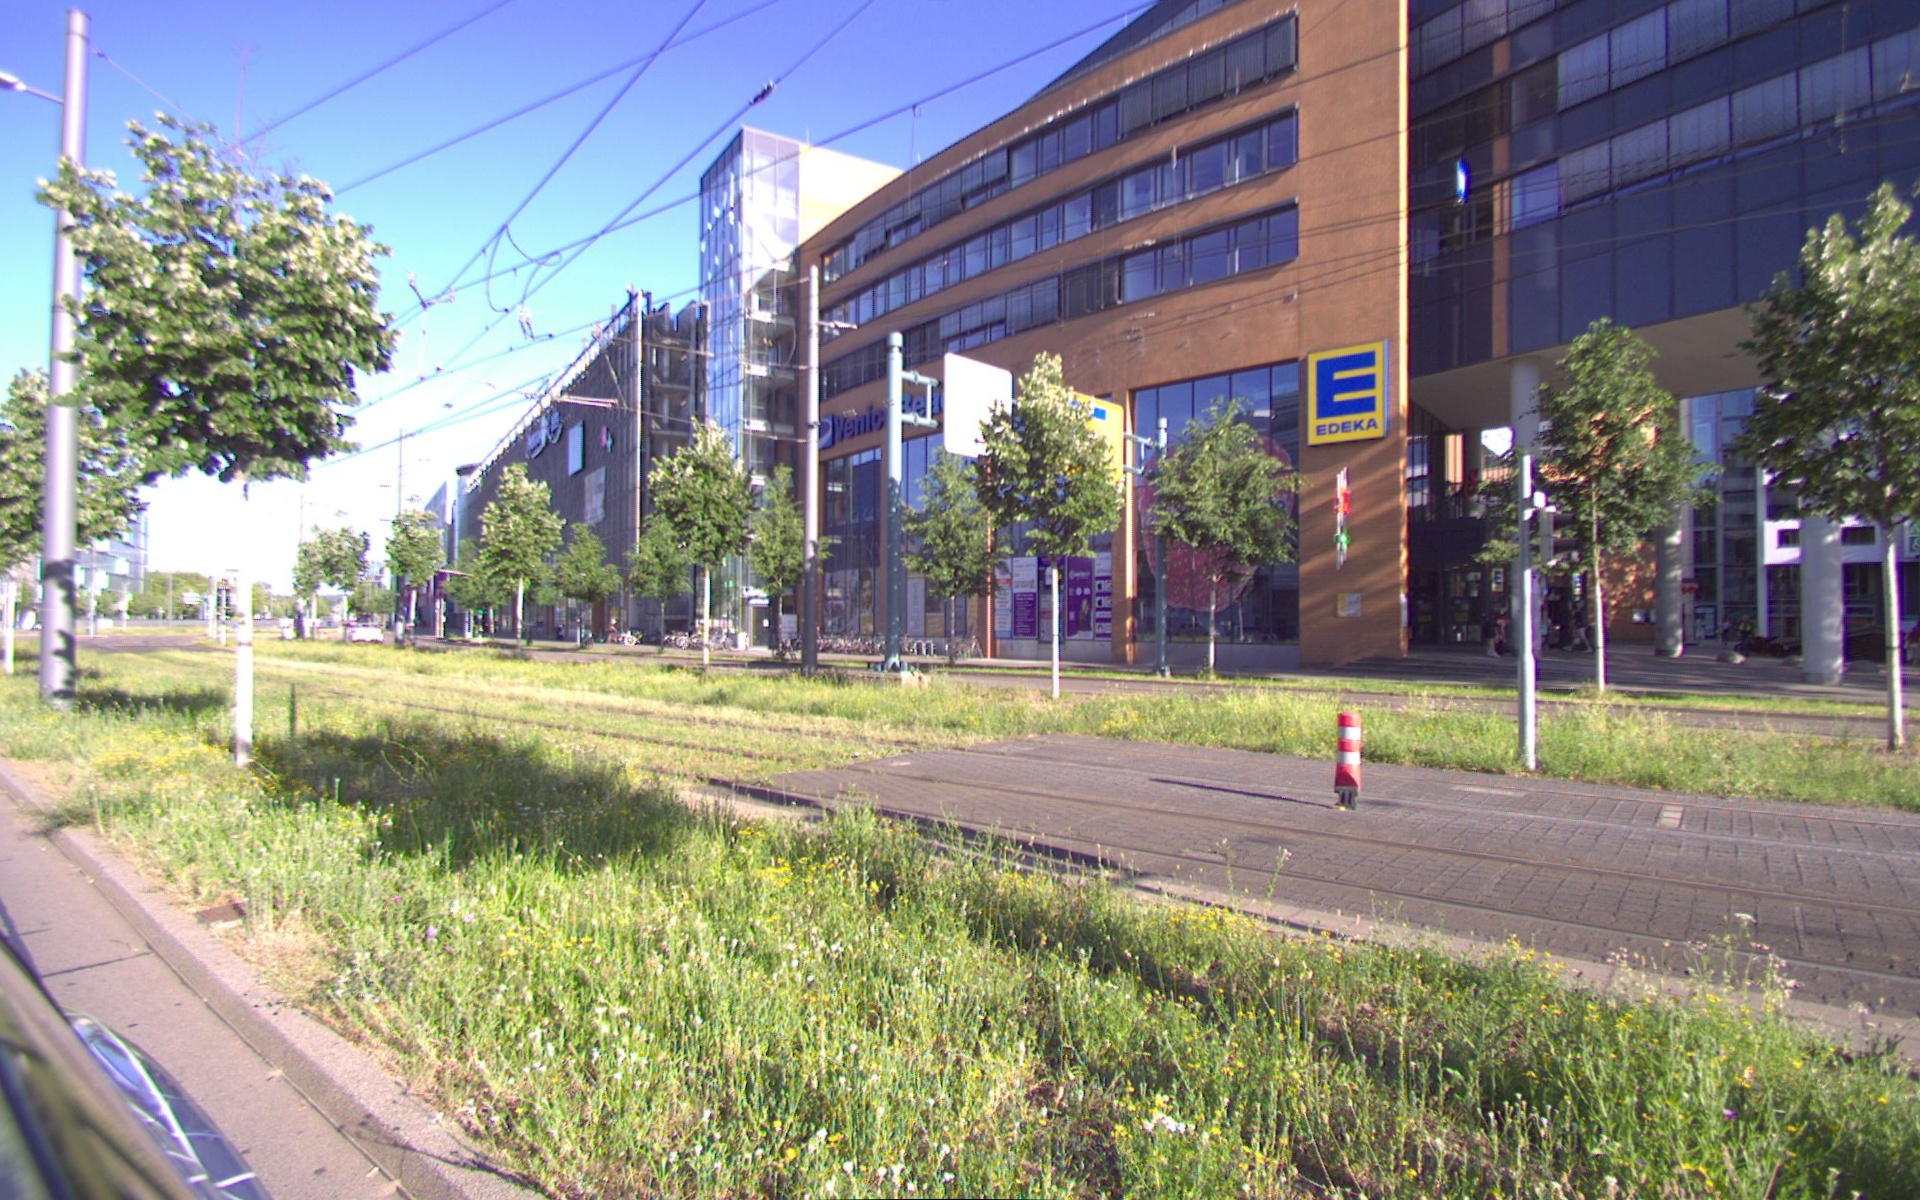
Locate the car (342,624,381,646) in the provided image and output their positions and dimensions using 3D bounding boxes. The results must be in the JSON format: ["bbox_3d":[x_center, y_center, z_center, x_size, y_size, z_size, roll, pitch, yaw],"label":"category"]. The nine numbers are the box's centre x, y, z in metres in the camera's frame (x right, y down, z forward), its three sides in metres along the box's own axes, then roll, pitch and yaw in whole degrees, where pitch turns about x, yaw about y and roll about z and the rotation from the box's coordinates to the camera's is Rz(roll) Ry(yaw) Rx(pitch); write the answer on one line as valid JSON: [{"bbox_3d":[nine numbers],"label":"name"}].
[{"bbox_3d":[-39.585,2.302,66.871,1.782,1.338,4.415,2,-2,-36],"label":"car"}]

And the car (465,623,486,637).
[{"bbox_3d":[-56.764,3.523,118.500,1.559,1.541,3.759,0,0,-37],"label":"car"}]

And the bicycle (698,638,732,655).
[{"bbox_3d":[-13.661,2.580,56.399,1.741,0.933,0.566,1,-2,-33],"label":"bicycle"}]

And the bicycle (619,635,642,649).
[{"bbox_3d":[-21.995,2.815,67.541,1.377,0.933,0.463,1,-2,-33],"label":"bicycle"}]

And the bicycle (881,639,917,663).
[{"bbox_3d":[-2.824,2.349,47.035,1.744,1.057,0.491,1,-2,-42],"label":"bicycle"}]

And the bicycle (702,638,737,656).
[{"bbox_3d":[-13.240,2.572,55.735,1.741,0.933,0.566,1,-2,-33],"label":"bicycle"}]

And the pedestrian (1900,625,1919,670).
[{"bbox_3d":[38.024,1.877,39.969,0.778,1.720,1.113,0,0,-32],"label":"pedestrian"}]

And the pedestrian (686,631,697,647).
[{"bbox_3d":[-17.926,2.592,67.611,0.619,1.063,0.450,1,-2,-36],"label":"pedestrian"}]

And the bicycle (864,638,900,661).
[{"bbox_3d":[-3.713,2.365,48.133,1.744,1.057,0.491,1,-2,-42],"label":"bicycle"}]

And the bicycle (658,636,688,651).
[{"bbox_3d":[-17.592,2.654,62.070,1.741,0.933,0.492,1,-2,-33],"label":"bicycle"}]

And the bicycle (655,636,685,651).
[{"bbox_3d":[-17.914,2.674,62.571,1.741,0.933,0.492,1,-2,-33],"label":"bicycle"}]

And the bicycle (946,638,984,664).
[{"bbox_3d":[0.226,2.173,43.225,1.744,1.057,0.491,1,-2,-42],"label":"bicycle"}]

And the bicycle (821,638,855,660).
[{"bbox_3d":[-6.093,2.444,50.570,1.744,1.057,0.491,1,-2,-42],"label":"bicycle"}]

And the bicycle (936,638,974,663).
[{"bbox_3d":[-0.220,2.181,43.688,1.744,1.057,0.491,1,-2,-42],"label":"bicycle"}]

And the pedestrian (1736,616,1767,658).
[{"bbox_3d":[33.448,1.556,42.774,0.778,1.720,0.810,0,0,-32],"label":"pedestrian"}]

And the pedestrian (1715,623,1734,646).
[{"bbox_3d":[42.736,1.928,56.556,0.627,1.287,0.664,0,0,-32],"label":"pedestrian"}]

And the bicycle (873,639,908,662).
[{"bbox_3d":[-3.266,2.356,47.580,1.744,1.057,0.491,1,-2,-42],"label":"bicycle"}]

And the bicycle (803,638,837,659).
[{"bbox_3d":[-7.143,2.462,51.632,1.744,1.057,0.491,1,-2,-42],"label":"bicycle"}]

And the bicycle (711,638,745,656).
[{"bbox_3d":[-12.577,2.560,54.855,1.741,0.933,0.566,1,-2,-33],"label":"bicycle"}]

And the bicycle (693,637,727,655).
[{"bbox_3d":[-14.088,2.588,57.072,1.741,0.933,0.566,1,-2,-33],"label":"bicycle"}]

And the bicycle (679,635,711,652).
[{"bbox_3d":[-15.566,2.554,59.428,1.741,0.933,0.492,1,-2,-33],"label":"bicycle"}]

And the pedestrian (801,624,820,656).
[{"bbox_3d":[-7.895,2.111,53.437,0.736,1.681,0.676,1,-2,-43],"label":"pedestrian"}]

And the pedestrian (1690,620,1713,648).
[{"bbox_3d":[41.476,1.890,56.593,1.038,1.491,0.660,0,0,-32],"label":"pedestrian"}]

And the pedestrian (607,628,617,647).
[{"bbox_3d":[-24.008,2.576,69.780,0.442,1.299,0.631,1,-2,-36],"label":"pedestrian"}]

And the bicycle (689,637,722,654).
[{"bbox_3d":[-14.479,2.596,57.626,1.741,0.933,0.566,1,-2,-33],"label":"bicycle"}]

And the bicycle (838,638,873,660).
[{"bbox_3d":[-5.100,2.388,49.561,1.744,1.057,0.491,1,-2,-42],"label":"bicycle"}]

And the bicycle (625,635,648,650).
[{"bbox_3d":[-21.225,2.800,66.350,1.377,0.933,0.463,1,-2,-33],"label":"bicycle"}]

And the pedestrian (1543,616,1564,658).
[{"bbox_3d":[21.680,1.341,36.966,0.572,1.491,0.447,-1,-1,41],"label":"pedestrian"}]

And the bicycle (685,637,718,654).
[{"bbox_3d":[-14.884,2.603,58.229,1.741,0.933,0.566,1,-2,-33],"label":"bicycle"}]

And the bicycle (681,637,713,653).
[{"bbox_3d":[-15.270,2.611,58.806,1.741,0.933,0.566,1,-2,-33],"label":"bicycle"}]

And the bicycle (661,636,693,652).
[{"bbox_3d":[-17.200,2.647,61.519,1.741,0.933,0.566,1,-2,-33],"label":"bicycle"}]

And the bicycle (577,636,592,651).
[{"bbox_3d":[-22.725,2.640,61.215,0.380,0.875,1.775,1,-2,-36],"label":"bicycle"}]

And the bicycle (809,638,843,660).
[{"bbox_3d":[-6.764,2.456,51.179,1.744,1.057,0.491,1,-2,-42],"label":"bicycle"}]

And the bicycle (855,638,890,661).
[{"bbox_3d":[-4.202,2.373,48.624,1.744,1.057,0.491,1,-2,-42],"label":"bicycle"}]

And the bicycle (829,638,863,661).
[{"bbox_3d":[-5.631,2.436,50.056,1.744,1.057,0.491,1,-2,-42],"label":"bicycle"}]

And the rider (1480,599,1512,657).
[{"bbox_3d":[16.878,0.880,31.851,0.712,1.816,0.710,-1,-2,42],"label":"rider"}]

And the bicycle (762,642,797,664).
[{"bbox_3d":[-7.527,2.217,42.164,1.771,0.875,0.458,-1,-2,42],"label":"bicycle"}]

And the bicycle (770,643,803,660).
[{"bbox_3d":[-9.598,2.839,56.045,1.741,0.933,0.566,1,-2,-33],"label":"bicycle"}]

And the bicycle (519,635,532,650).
[{"bbox_3d":[-27.414,2.663,63.836,0.380,0.930,1.775,1,-2,-36],"label":"bicycle"}]
